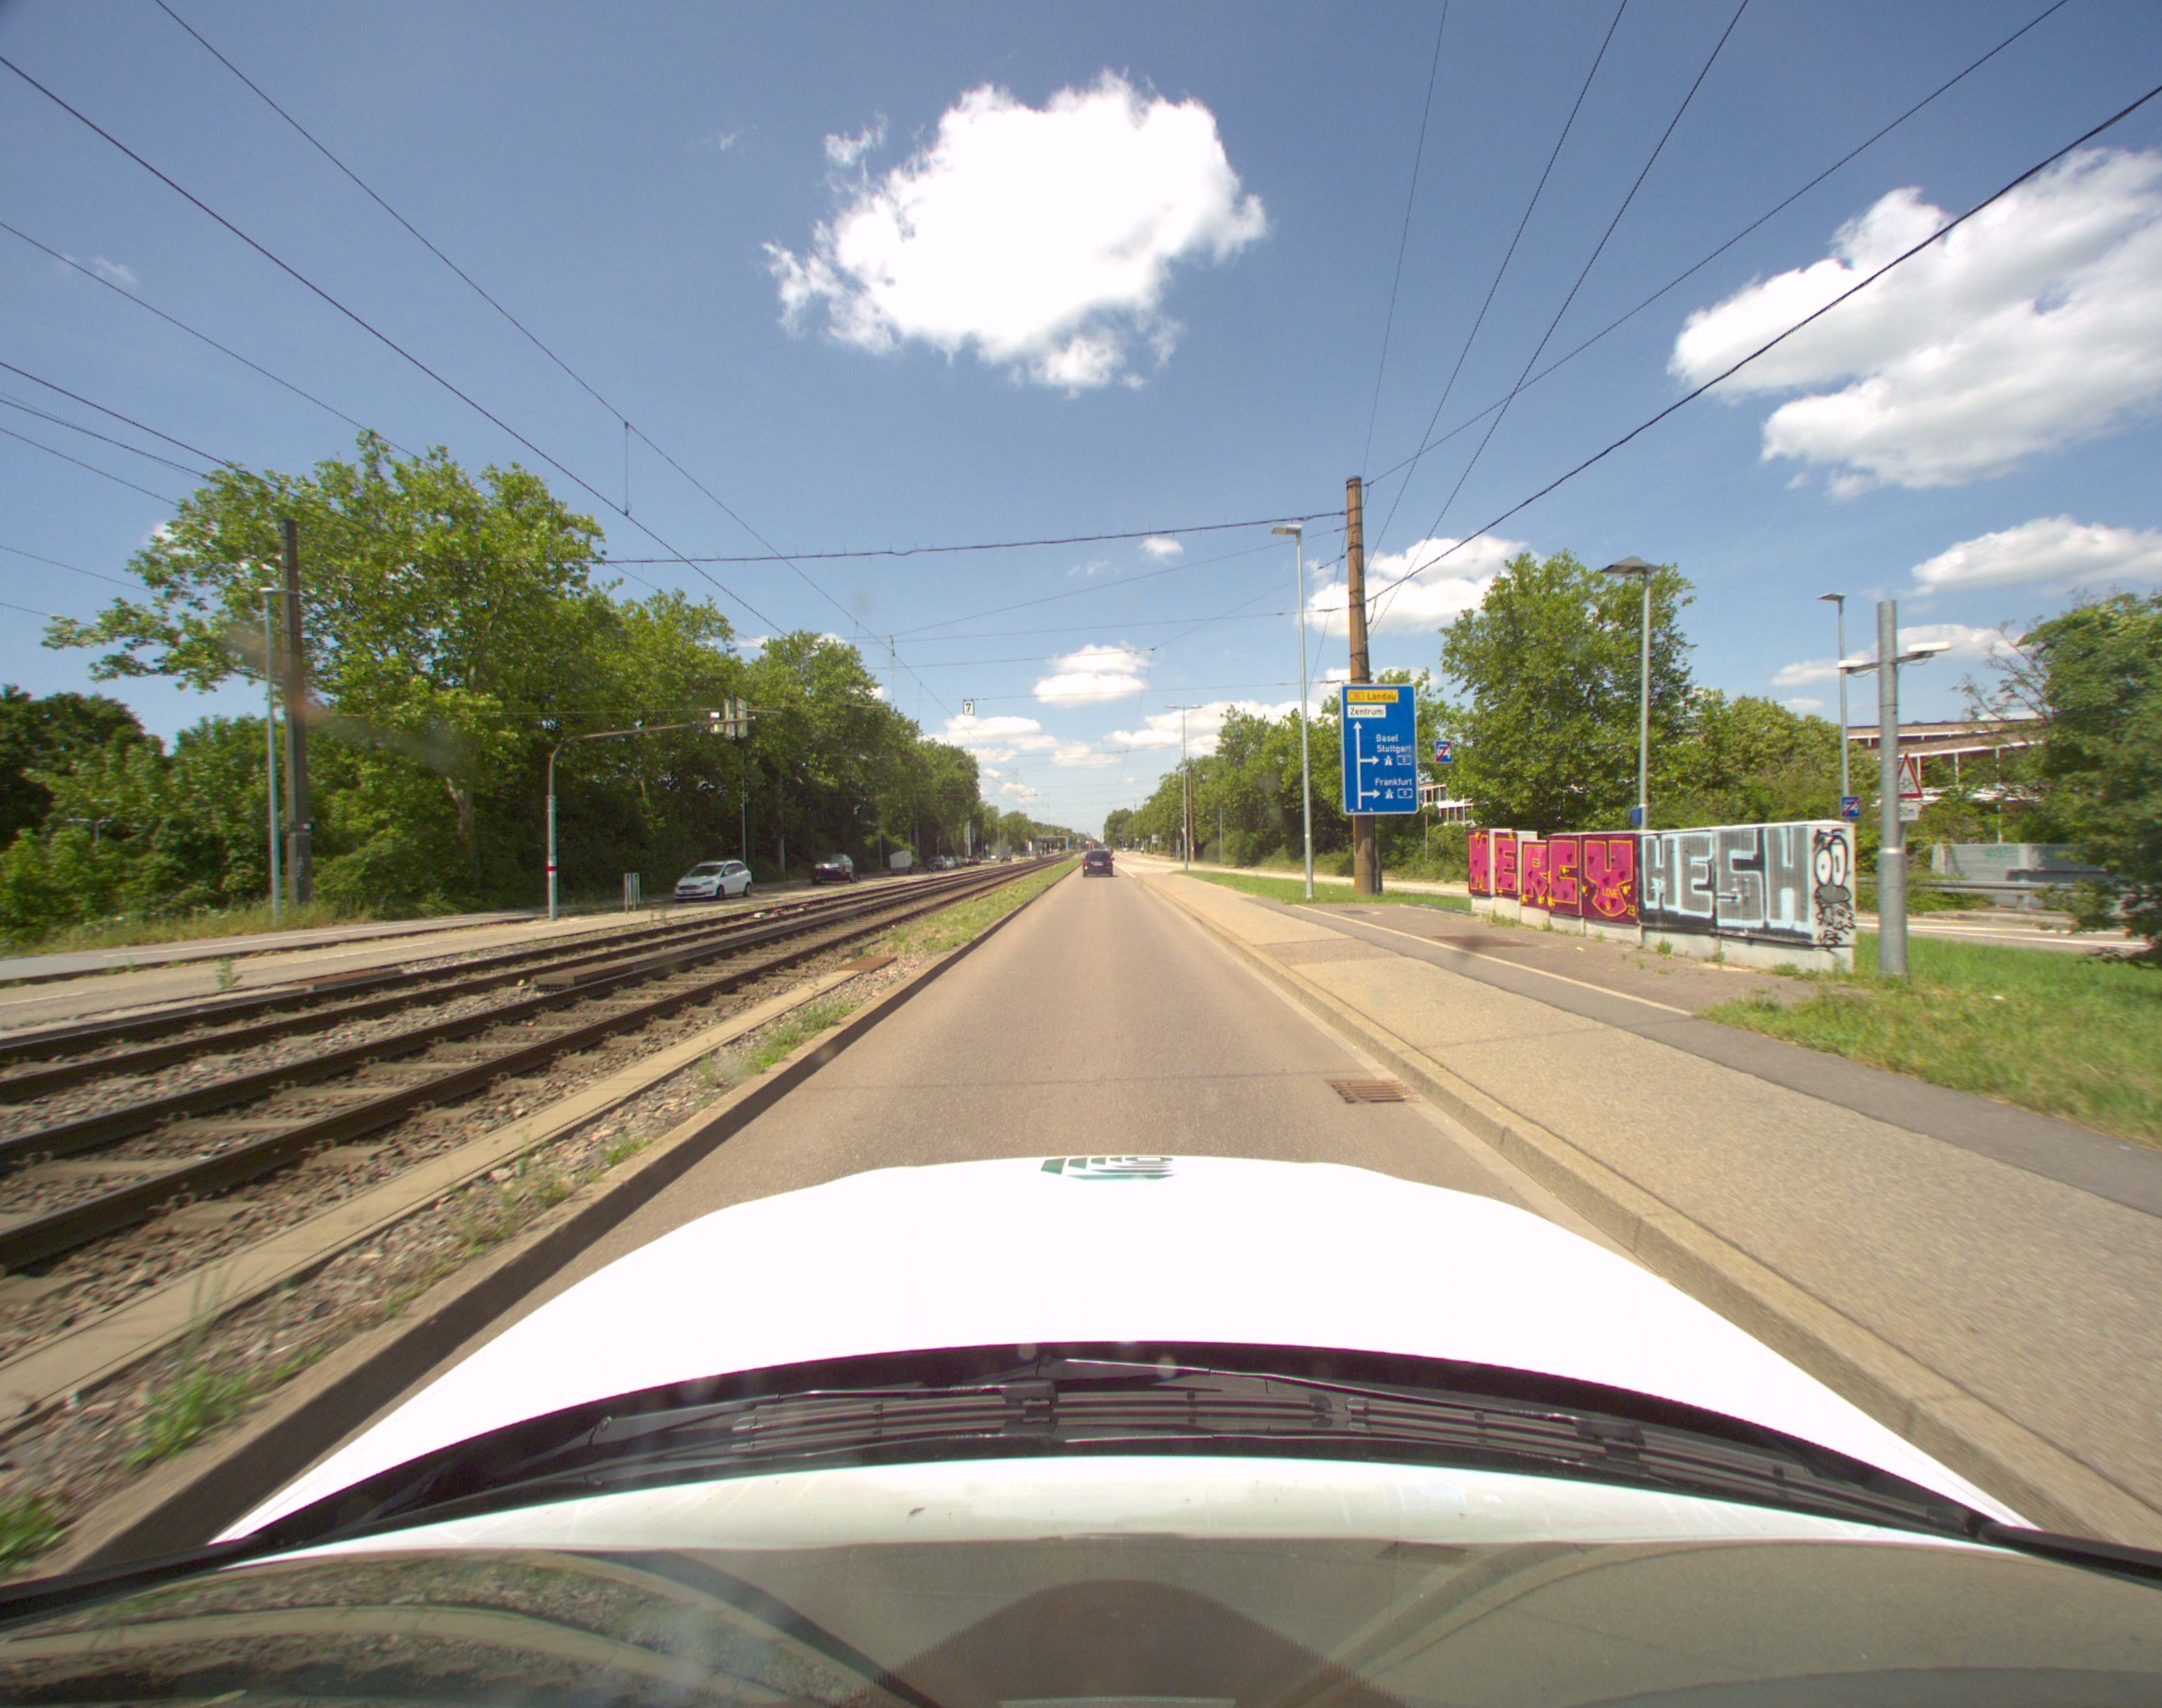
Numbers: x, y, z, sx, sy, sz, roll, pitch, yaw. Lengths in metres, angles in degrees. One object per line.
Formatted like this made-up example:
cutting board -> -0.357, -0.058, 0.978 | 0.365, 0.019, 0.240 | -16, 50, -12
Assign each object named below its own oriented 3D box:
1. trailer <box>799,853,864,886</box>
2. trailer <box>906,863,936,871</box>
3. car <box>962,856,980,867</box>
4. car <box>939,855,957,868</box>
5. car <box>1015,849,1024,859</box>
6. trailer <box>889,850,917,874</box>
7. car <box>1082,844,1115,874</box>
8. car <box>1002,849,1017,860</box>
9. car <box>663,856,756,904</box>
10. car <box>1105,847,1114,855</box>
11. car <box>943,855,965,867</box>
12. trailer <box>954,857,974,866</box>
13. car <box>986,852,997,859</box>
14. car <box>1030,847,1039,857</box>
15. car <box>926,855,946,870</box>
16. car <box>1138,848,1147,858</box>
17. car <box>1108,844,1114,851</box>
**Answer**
trailer -> -15.368, 0.882, 50.603 | 2.456, 1.888, 5.955 | -1, 0, -3
trailer -> -15.302, 1.219, 78.211 | 1.987, 0.742, 4.000 | -1, -1, 1
car -> -15.686, 1.038, 116.019 | 1.987, 1.574, 4.000 | -1, 0, 1
car -> -15.037, 0.859, 92.232 | 1.429, 1.451, 3.740 | -1, 0, -1
car -> -13.886, -0.003, 184.544 | 1.989, 2.013, 3.996 | 0, 1, -3
trailer -> -15.505, 0.663, 71.057 | 1.605, 2.013, 3.913 | 0, 1, -2
car -> 1.066, 0.255, 48.349 | 1.846, 1.570, 4.391 | -1, 2, 2
car -> -12.528, 0.036, 142.496 | 2.109, 1.790, 5.406 | -1, 0, 1
car -> -15.764, 1.056, 34.833 | 1.714, 1.630, 4.616 | -4, 2, 0
car -> 6.435, -0.662, 183.931 | 1.877, 1.639, 4.003 | 2, 1, 2
car -> -15.235, 0.826, 97.877 | 1.865, 1.401, 4.417 | -1, 0, -1
trailer -> -15.282, 0.933, 106.926 | 1.887, 1.044, 5.103 | 0, 1, 0
car -> -20.582, 0.363, 188.047 | 1.986, 1.574, 4.002 | -1, 0, 2
car -> -9.748, -0.435, 171.143 | 1.580, 2.013, 4.110 | 0, 2, 0
car -> -15.333, 0.904, 86.015 | 1.429, 1.451, 3.920 | -1, 0, -1
car -> 13.721, -0.198, 181.733 | 1.607, 2.013, 3.440 | 0, 1, 1
car -> 8.989, -1.988, 242.629 | 1.780, 2.013, 4.002 | 0, 2, 1
